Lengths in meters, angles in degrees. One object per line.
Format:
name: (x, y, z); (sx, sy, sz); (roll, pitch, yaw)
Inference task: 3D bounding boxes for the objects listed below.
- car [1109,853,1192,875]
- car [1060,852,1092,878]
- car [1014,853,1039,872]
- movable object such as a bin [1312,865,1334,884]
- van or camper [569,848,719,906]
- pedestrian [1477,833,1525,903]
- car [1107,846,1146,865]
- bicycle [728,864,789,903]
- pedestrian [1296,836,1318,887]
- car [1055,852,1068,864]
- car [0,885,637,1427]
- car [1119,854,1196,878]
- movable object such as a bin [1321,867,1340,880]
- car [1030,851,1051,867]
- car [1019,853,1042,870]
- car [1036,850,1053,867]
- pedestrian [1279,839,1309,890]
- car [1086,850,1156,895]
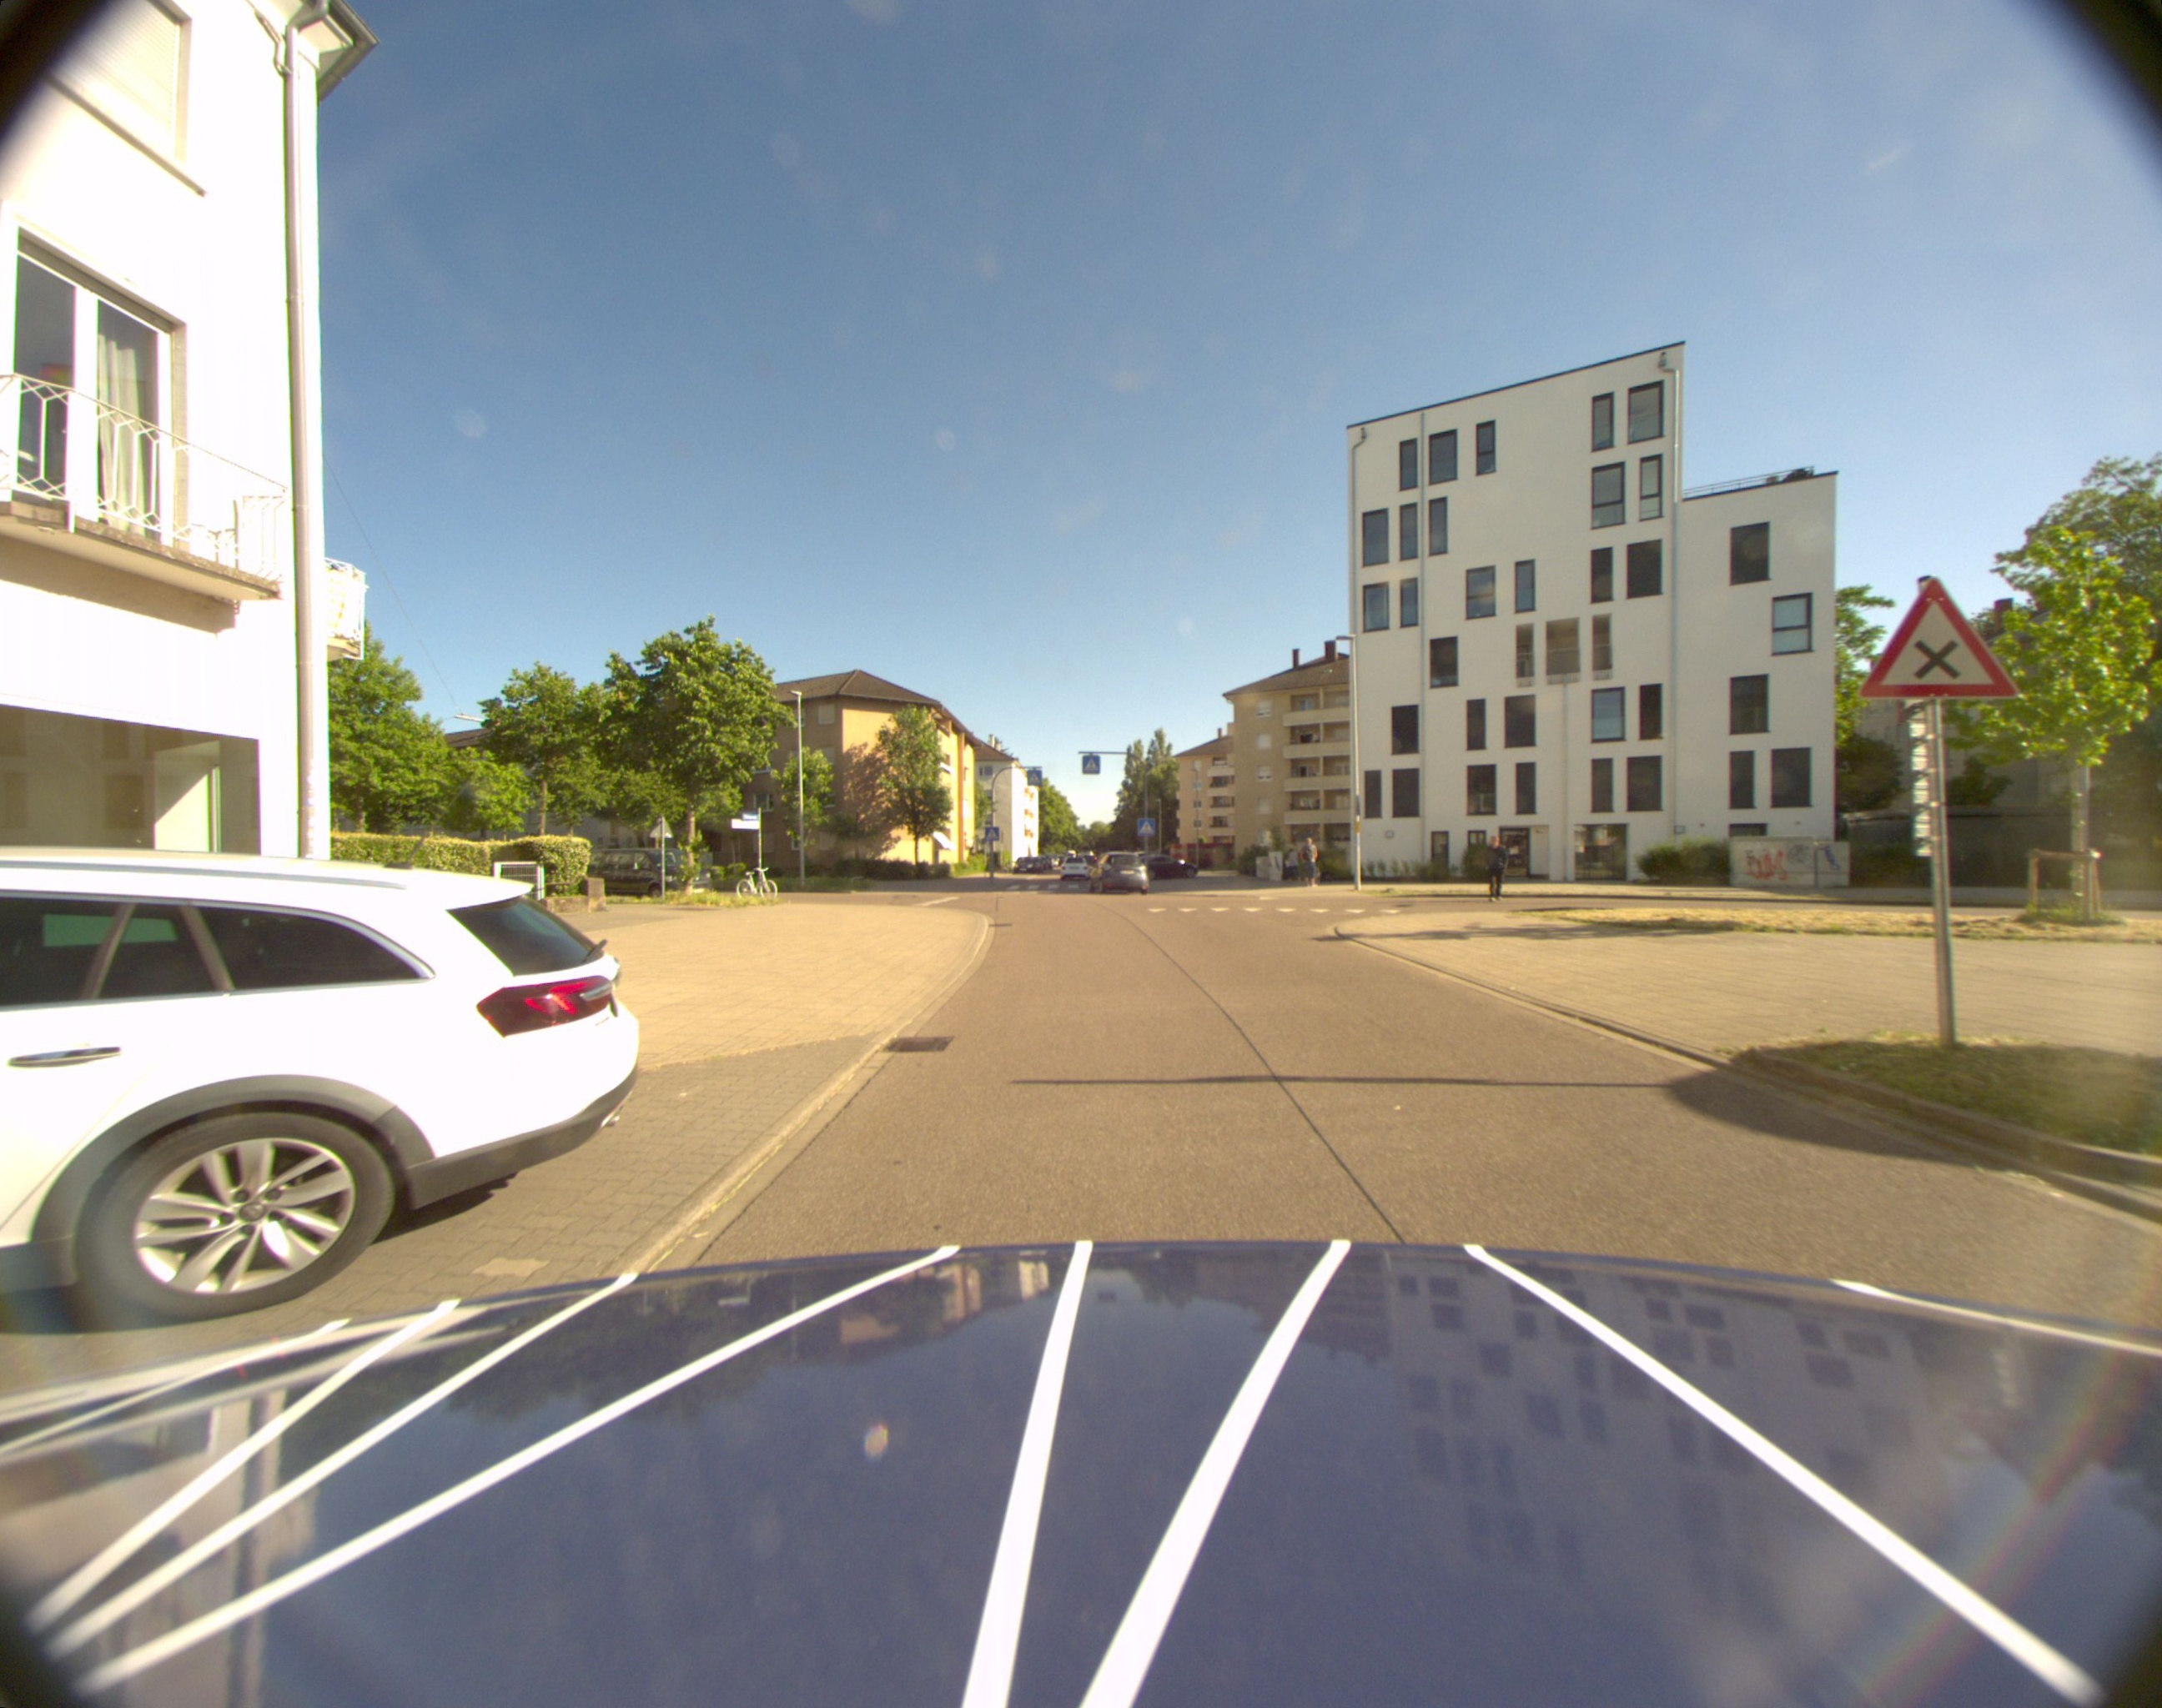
car: (4.183, 0.584, 45.465); (4.570, 1.160, 1.996); (-2, 1, -28)
car: (-0.241, 0.664, 48.440); (1.890, 1.496, 4.637); (-1, 1, 1)
car: (-4.487, 0.663, 62.628); (1.909, 1.506, 3.998); (0, 0, -6)
movable object such as a bin: (9.559, 0.805, 29.991); (0.273, 0.676, 0.847); (-2, 2, -33)
van or camper: (-15.805, 0.737, 27.437); (5.372, 1.853, 1.999); (0, 3, 27)
pedestrian: (10.592, 0.339, 19.181); (0.977, 1.704, 0.875); (0, 1, 23)
car: (5.340, 0.179, 89.035); (4.003, 2.003, 1.996); (-2, 3, -20)
bicycle: (-10.447, 0.948, 24.583); (2.025, 1.187, 0.530); (0, 2, 23)
pedestrian: (8.572, 0.260, 28.847); (0.789, 1.875, 0.847); (0, 3, 16)
car: (-3.070, 0.584, 120.468); (1.999, 1.685, 3.998); (-1, 2, -1)
car: (-4.335, 0.855, 2.436); (4.883, 1.455, 1.968); (2, -1, -34)
car: (4.886, 0.753, 48.587); (4.571, 1.423, 1.996); (0, 0, -28)
movable object such as a bin: (10.439, 0.805, 31.810); (0.273, 0.538, 0.684); (-2, 2, -43)
car: (-4.210, 0.502, 78.955); (1.999, 1.456, 3.999); (-1, 1, -1)
car: (-4.459, 0.672, 67.955); (1.999, 1.237, 3.997); (-1, 3, -3)
car: (-4.025, 0.476, 84.258); (1.845, 1.747, 3.999); (1, 0, -2)
pedestrian: (8.975, 0.437, 32.064); (0.776, 2.108, 0.957); (-2, 1, -20)
car: (1.408, 0.646, 28.509); (1.843, 1.495, 4.134); (-1, 1, -8)
